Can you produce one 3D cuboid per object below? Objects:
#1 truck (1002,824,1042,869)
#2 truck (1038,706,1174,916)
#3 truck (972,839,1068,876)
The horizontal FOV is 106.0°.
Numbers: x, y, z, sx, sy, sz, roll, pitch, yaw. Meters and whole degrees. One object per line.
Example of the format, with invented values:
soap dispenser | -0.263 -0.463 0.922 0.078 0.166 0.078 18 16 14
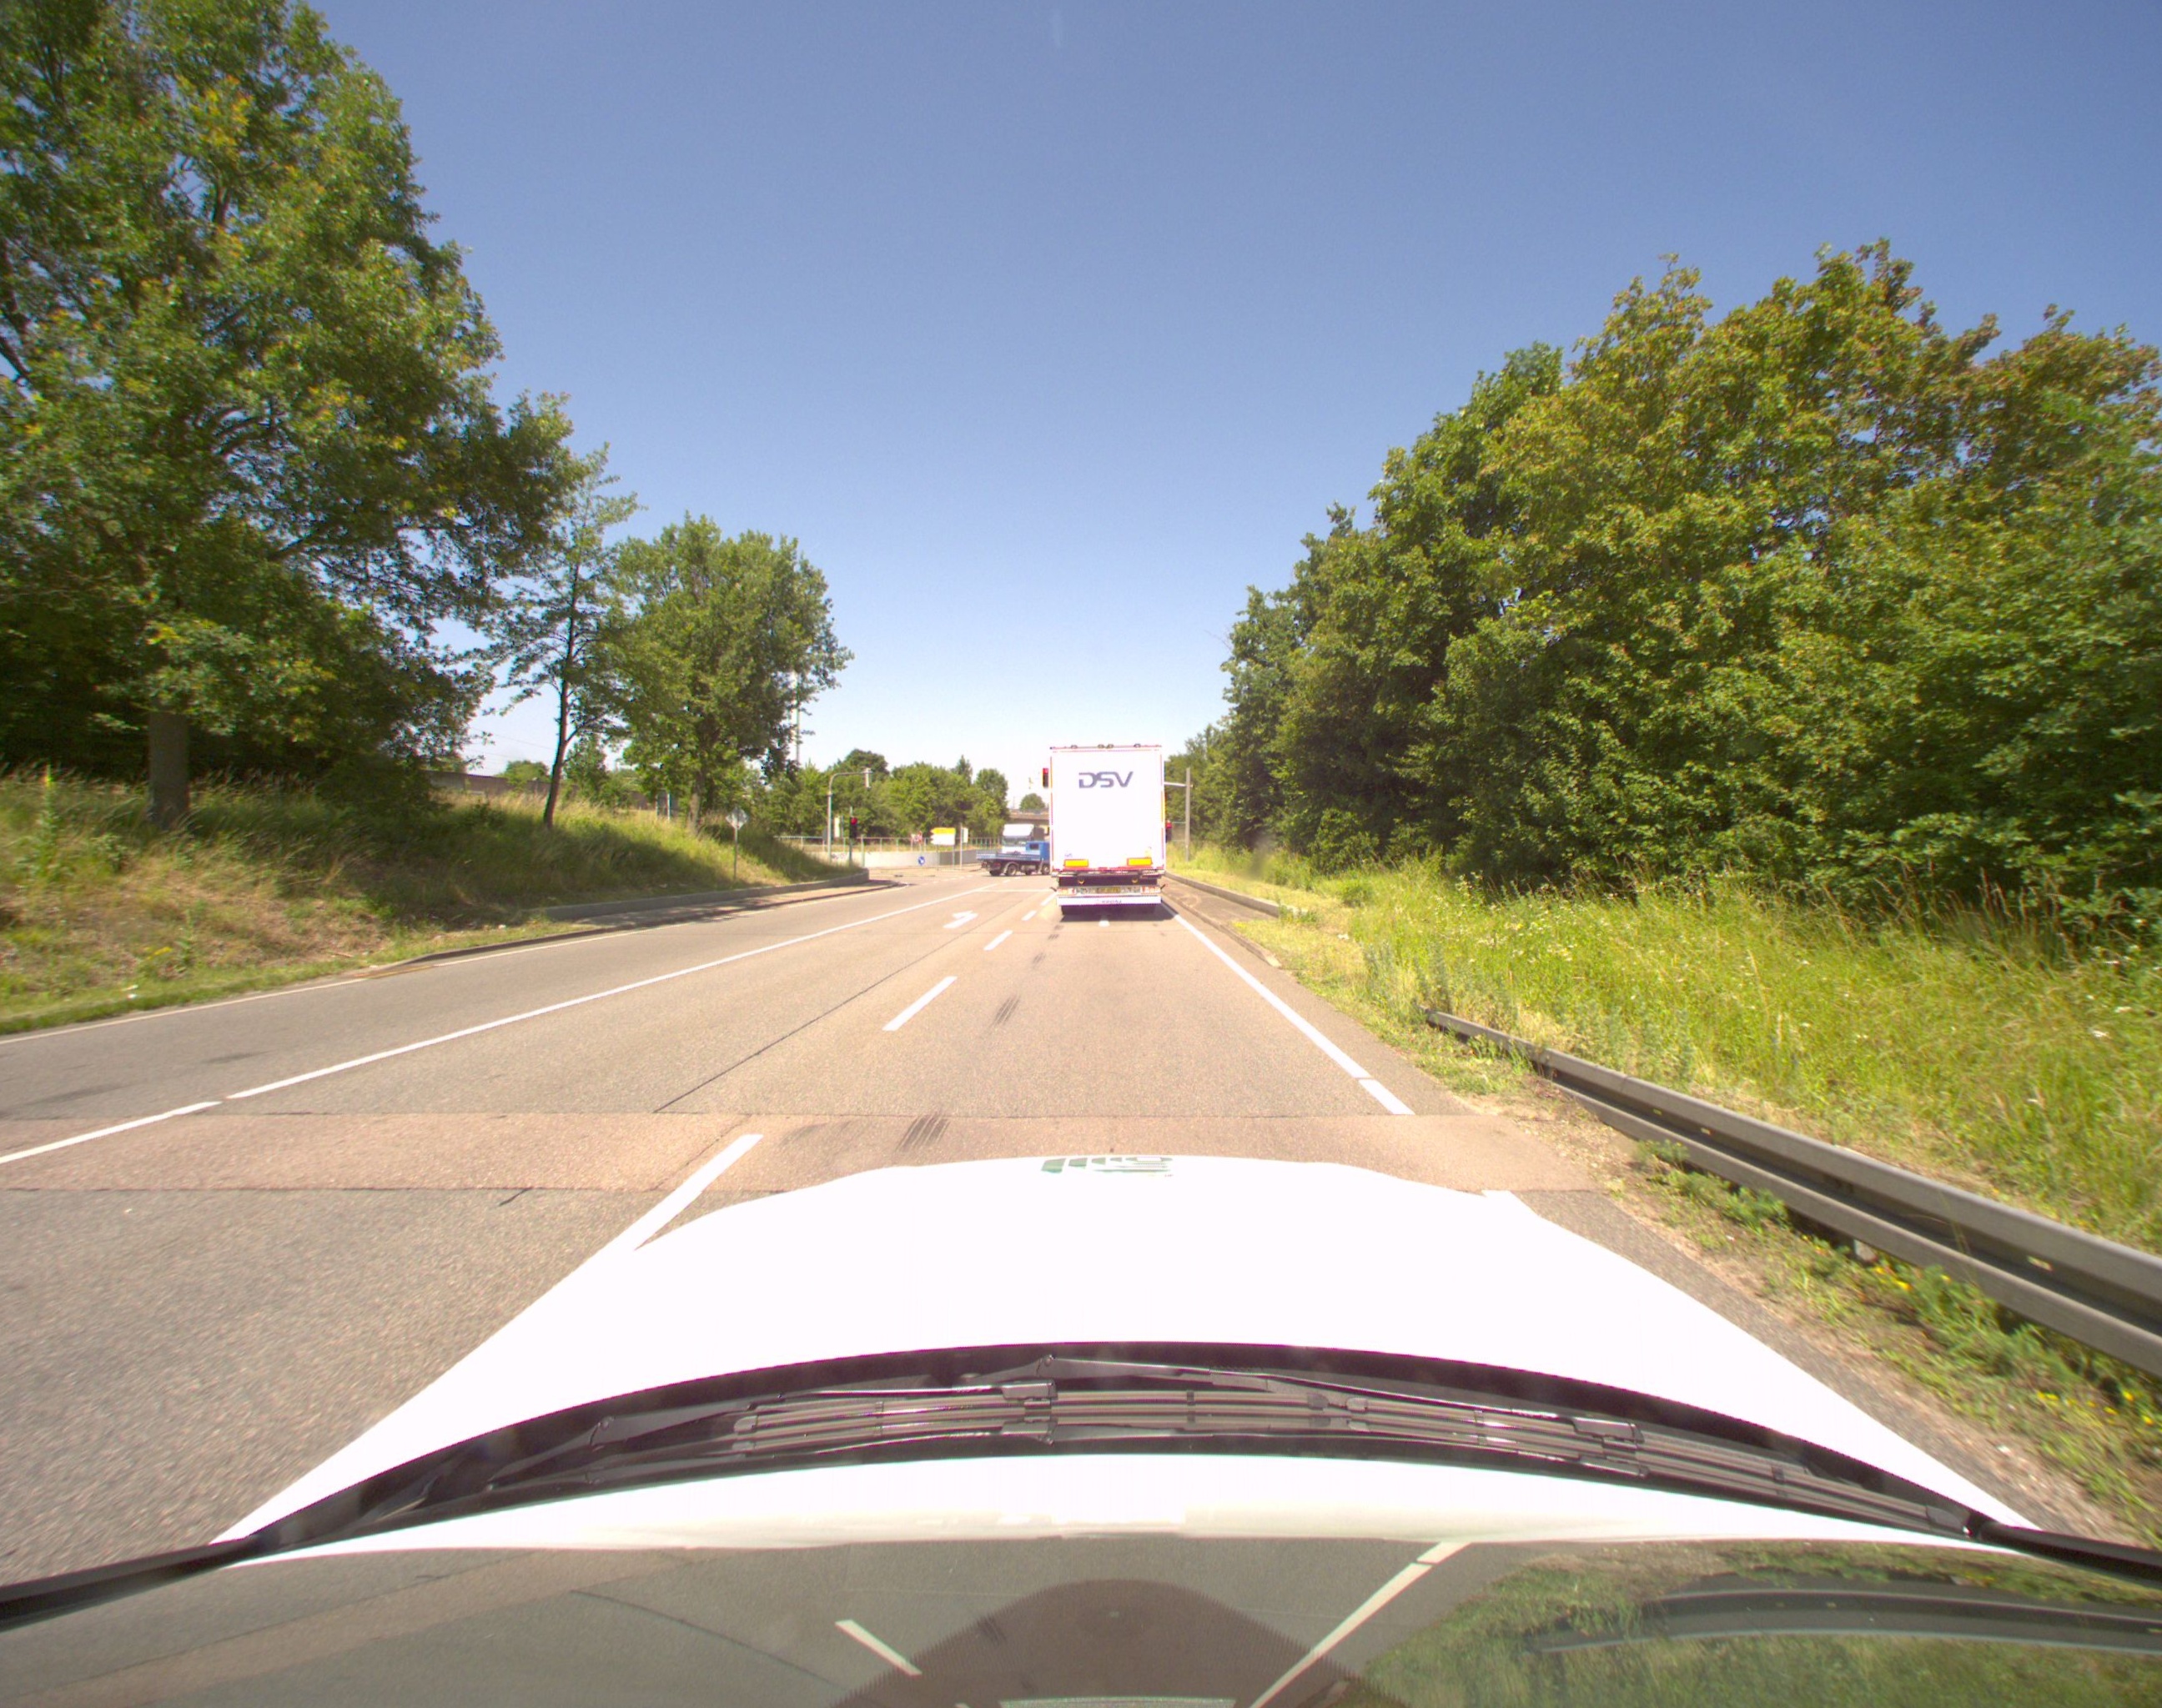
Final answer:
truck | -5.311 -0.716 75.979 2.344 3.749 12.632 -1 1 2
truck | 0.829 -0.943 22.862 2.937 4.568 9.871 -1 0 3
truck | -4.228 0.233 57.225 6.466 2.499 2.682 0 0 -42
